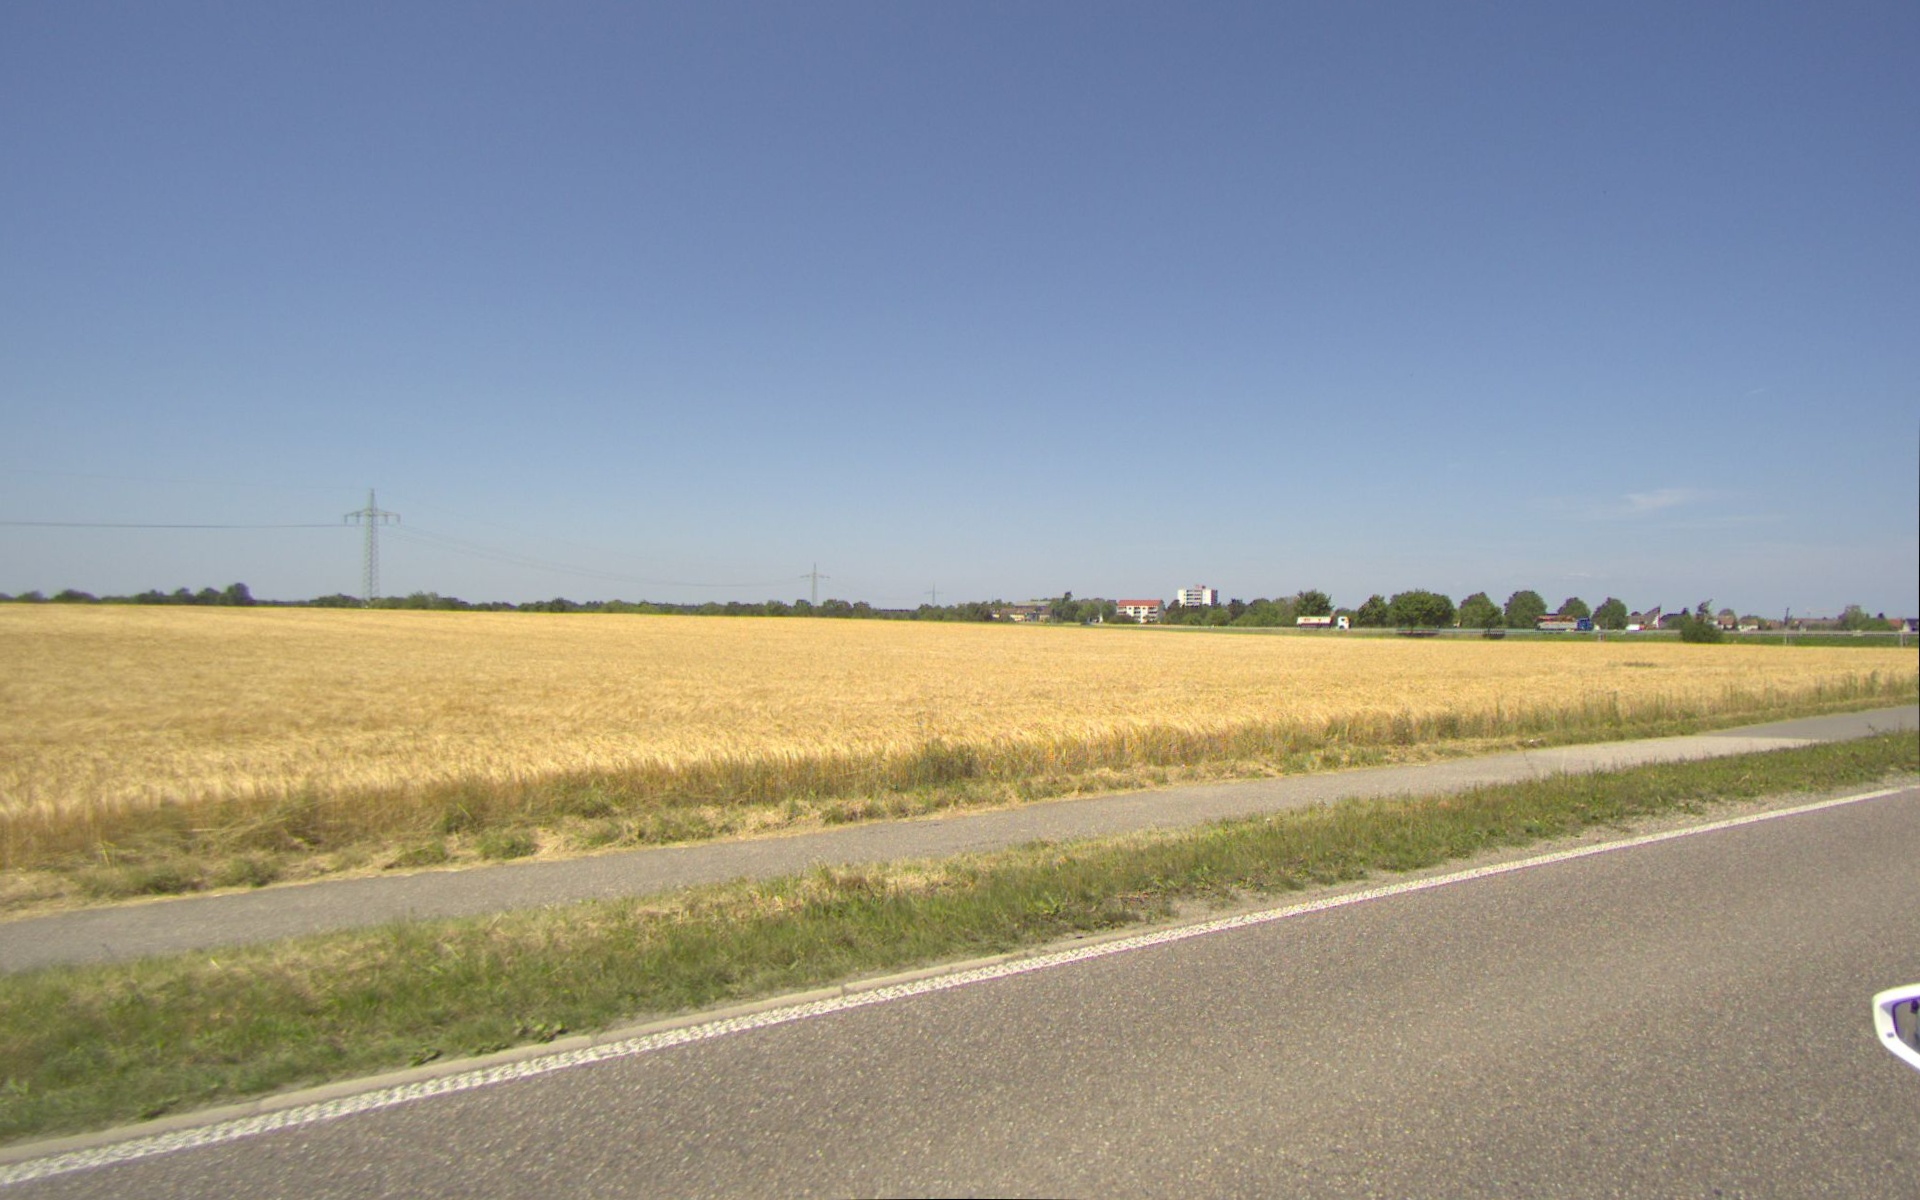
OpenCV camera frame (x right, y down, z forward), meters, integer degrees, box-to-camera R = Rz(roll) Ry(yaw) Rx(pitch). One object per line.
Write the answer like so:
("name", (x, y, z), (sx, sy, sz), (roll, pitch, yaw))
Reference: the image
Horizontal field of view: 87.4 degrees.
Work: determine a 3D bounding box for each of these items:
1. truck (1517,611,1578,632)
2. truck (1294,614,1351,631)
("truck", (115.769, 4.221, 198.034), (2.605, 3.844, 9.993), (1, 0, -40))
("truck", (82.849, 5.102, 229.801), (11.843, 3.663, 2.970), (1, 0, 39))
